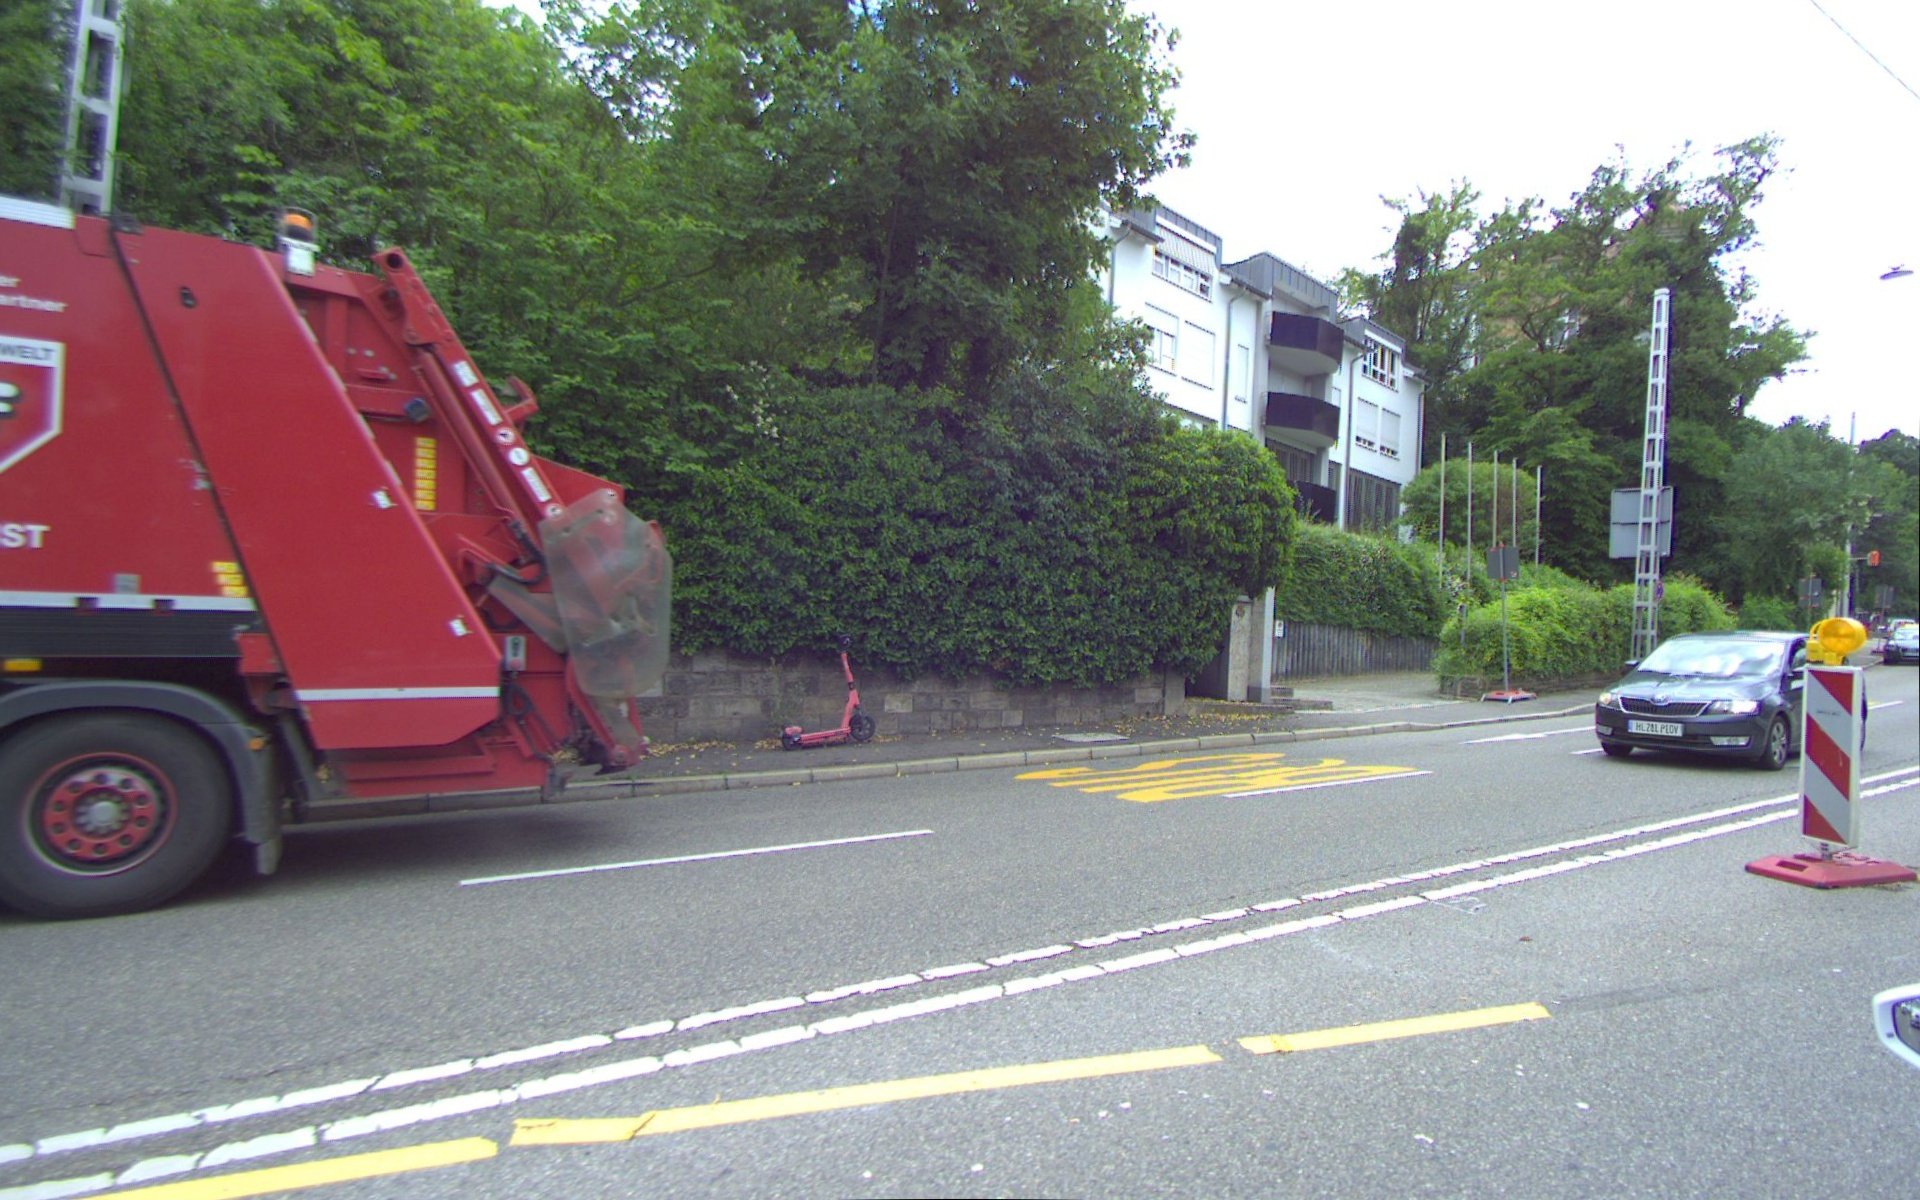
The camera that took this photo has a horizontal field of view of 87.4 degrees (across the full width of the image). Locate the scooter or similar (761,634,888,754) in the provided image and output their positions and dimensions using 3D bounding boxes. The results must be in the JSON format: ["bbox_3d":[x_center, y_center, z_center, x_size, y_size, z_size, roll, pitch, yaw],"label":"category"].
[{"bbox_3d":[-1.487,1.009,11.116,1.267,1.221,0.534,1,1,-35],"label":"scooter or similar"}]

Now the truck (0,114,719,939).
[{"bbox_3d":[-6.440,-0.310,5.035,9.800,3.746,2.932,1,-3,-30],"label":"truck"}]

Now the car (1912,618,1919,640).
[{"bbox_3d":[64.464,1.891,65.980,1.965,1.469,4.142,0,-2,31],"label":"car"}]

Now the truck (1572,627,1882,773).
[{"bbox_3d":[9.095,1.049,11.837,3.982,1.462,1.653,1,-2,-33],"label":"truck"}]

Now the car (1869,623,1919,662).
[{"bbox_3d":[35.696,1.570,37.853,3.973,1.400,1.877,1,-2,-44],"label":"car"}]
